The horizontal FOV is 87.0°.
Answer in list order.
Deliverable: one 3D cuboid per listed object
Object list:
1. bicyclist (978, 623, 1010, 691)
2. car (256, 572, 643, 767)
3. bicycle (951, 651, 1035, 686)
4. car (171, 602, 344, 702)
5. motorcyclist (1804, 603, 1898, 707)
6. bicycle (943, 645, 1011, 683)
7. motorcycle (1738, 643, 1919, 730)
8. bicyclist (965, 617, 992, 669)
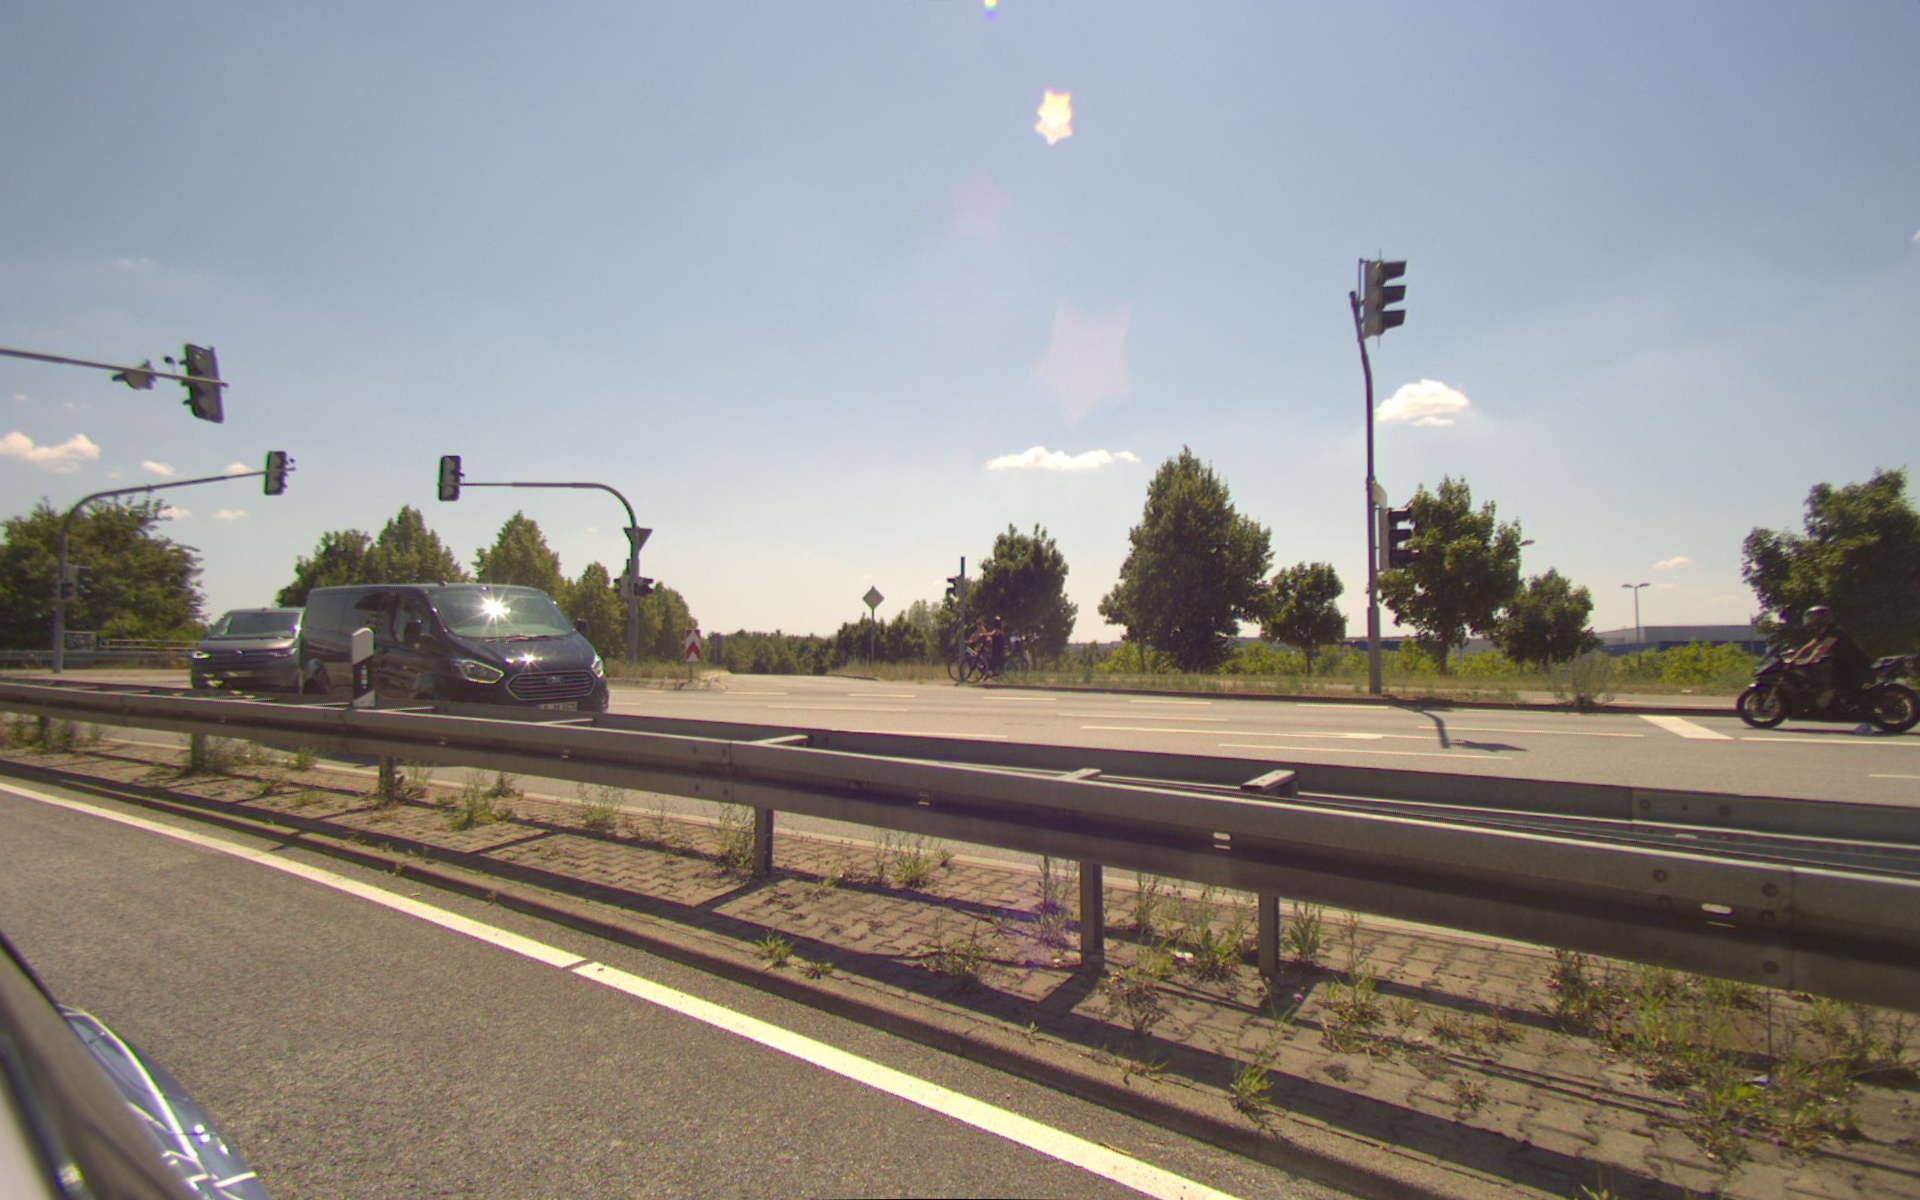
[{"bbox_3d":[0.879,1.462,26.249,0.724,1.731,0.529,-1,-1,16],"label":"bicyclist"},{"bbox_3d":[-6.512,0.772,12.633,5.401,1.952,2.099,-1,-2,37],"label":"car"},{"bbox_3d":[0.860,1.764,26.254,2.108,0.859,0.532,-1,-1,16],"label":"bicycle"},{"bbox_3d":[-15.308,1.161,22.372,1.911,1.934,4.547,3,-4,-19],"label":"car"},{"bbox_3d":[11.580,0.722,13.183,0.720,1.313,0.670,-1,-5,28],"label":"motorcyclist"},{"bbox_3d":[0.461,1.761,27.905,1.816,1.032,0.413,-1,-1,17],"label":"bicycle"},{"bbox_3d":[11.602,1.105,13.144,2.274,1.088,0.559,-1,-4,28],"label":"motorcycle"},{"bbox_3d":[0.516,1.186,27.897,0.679,1.415,0.406,0,-1,17],"label":"bicyclist"}]
